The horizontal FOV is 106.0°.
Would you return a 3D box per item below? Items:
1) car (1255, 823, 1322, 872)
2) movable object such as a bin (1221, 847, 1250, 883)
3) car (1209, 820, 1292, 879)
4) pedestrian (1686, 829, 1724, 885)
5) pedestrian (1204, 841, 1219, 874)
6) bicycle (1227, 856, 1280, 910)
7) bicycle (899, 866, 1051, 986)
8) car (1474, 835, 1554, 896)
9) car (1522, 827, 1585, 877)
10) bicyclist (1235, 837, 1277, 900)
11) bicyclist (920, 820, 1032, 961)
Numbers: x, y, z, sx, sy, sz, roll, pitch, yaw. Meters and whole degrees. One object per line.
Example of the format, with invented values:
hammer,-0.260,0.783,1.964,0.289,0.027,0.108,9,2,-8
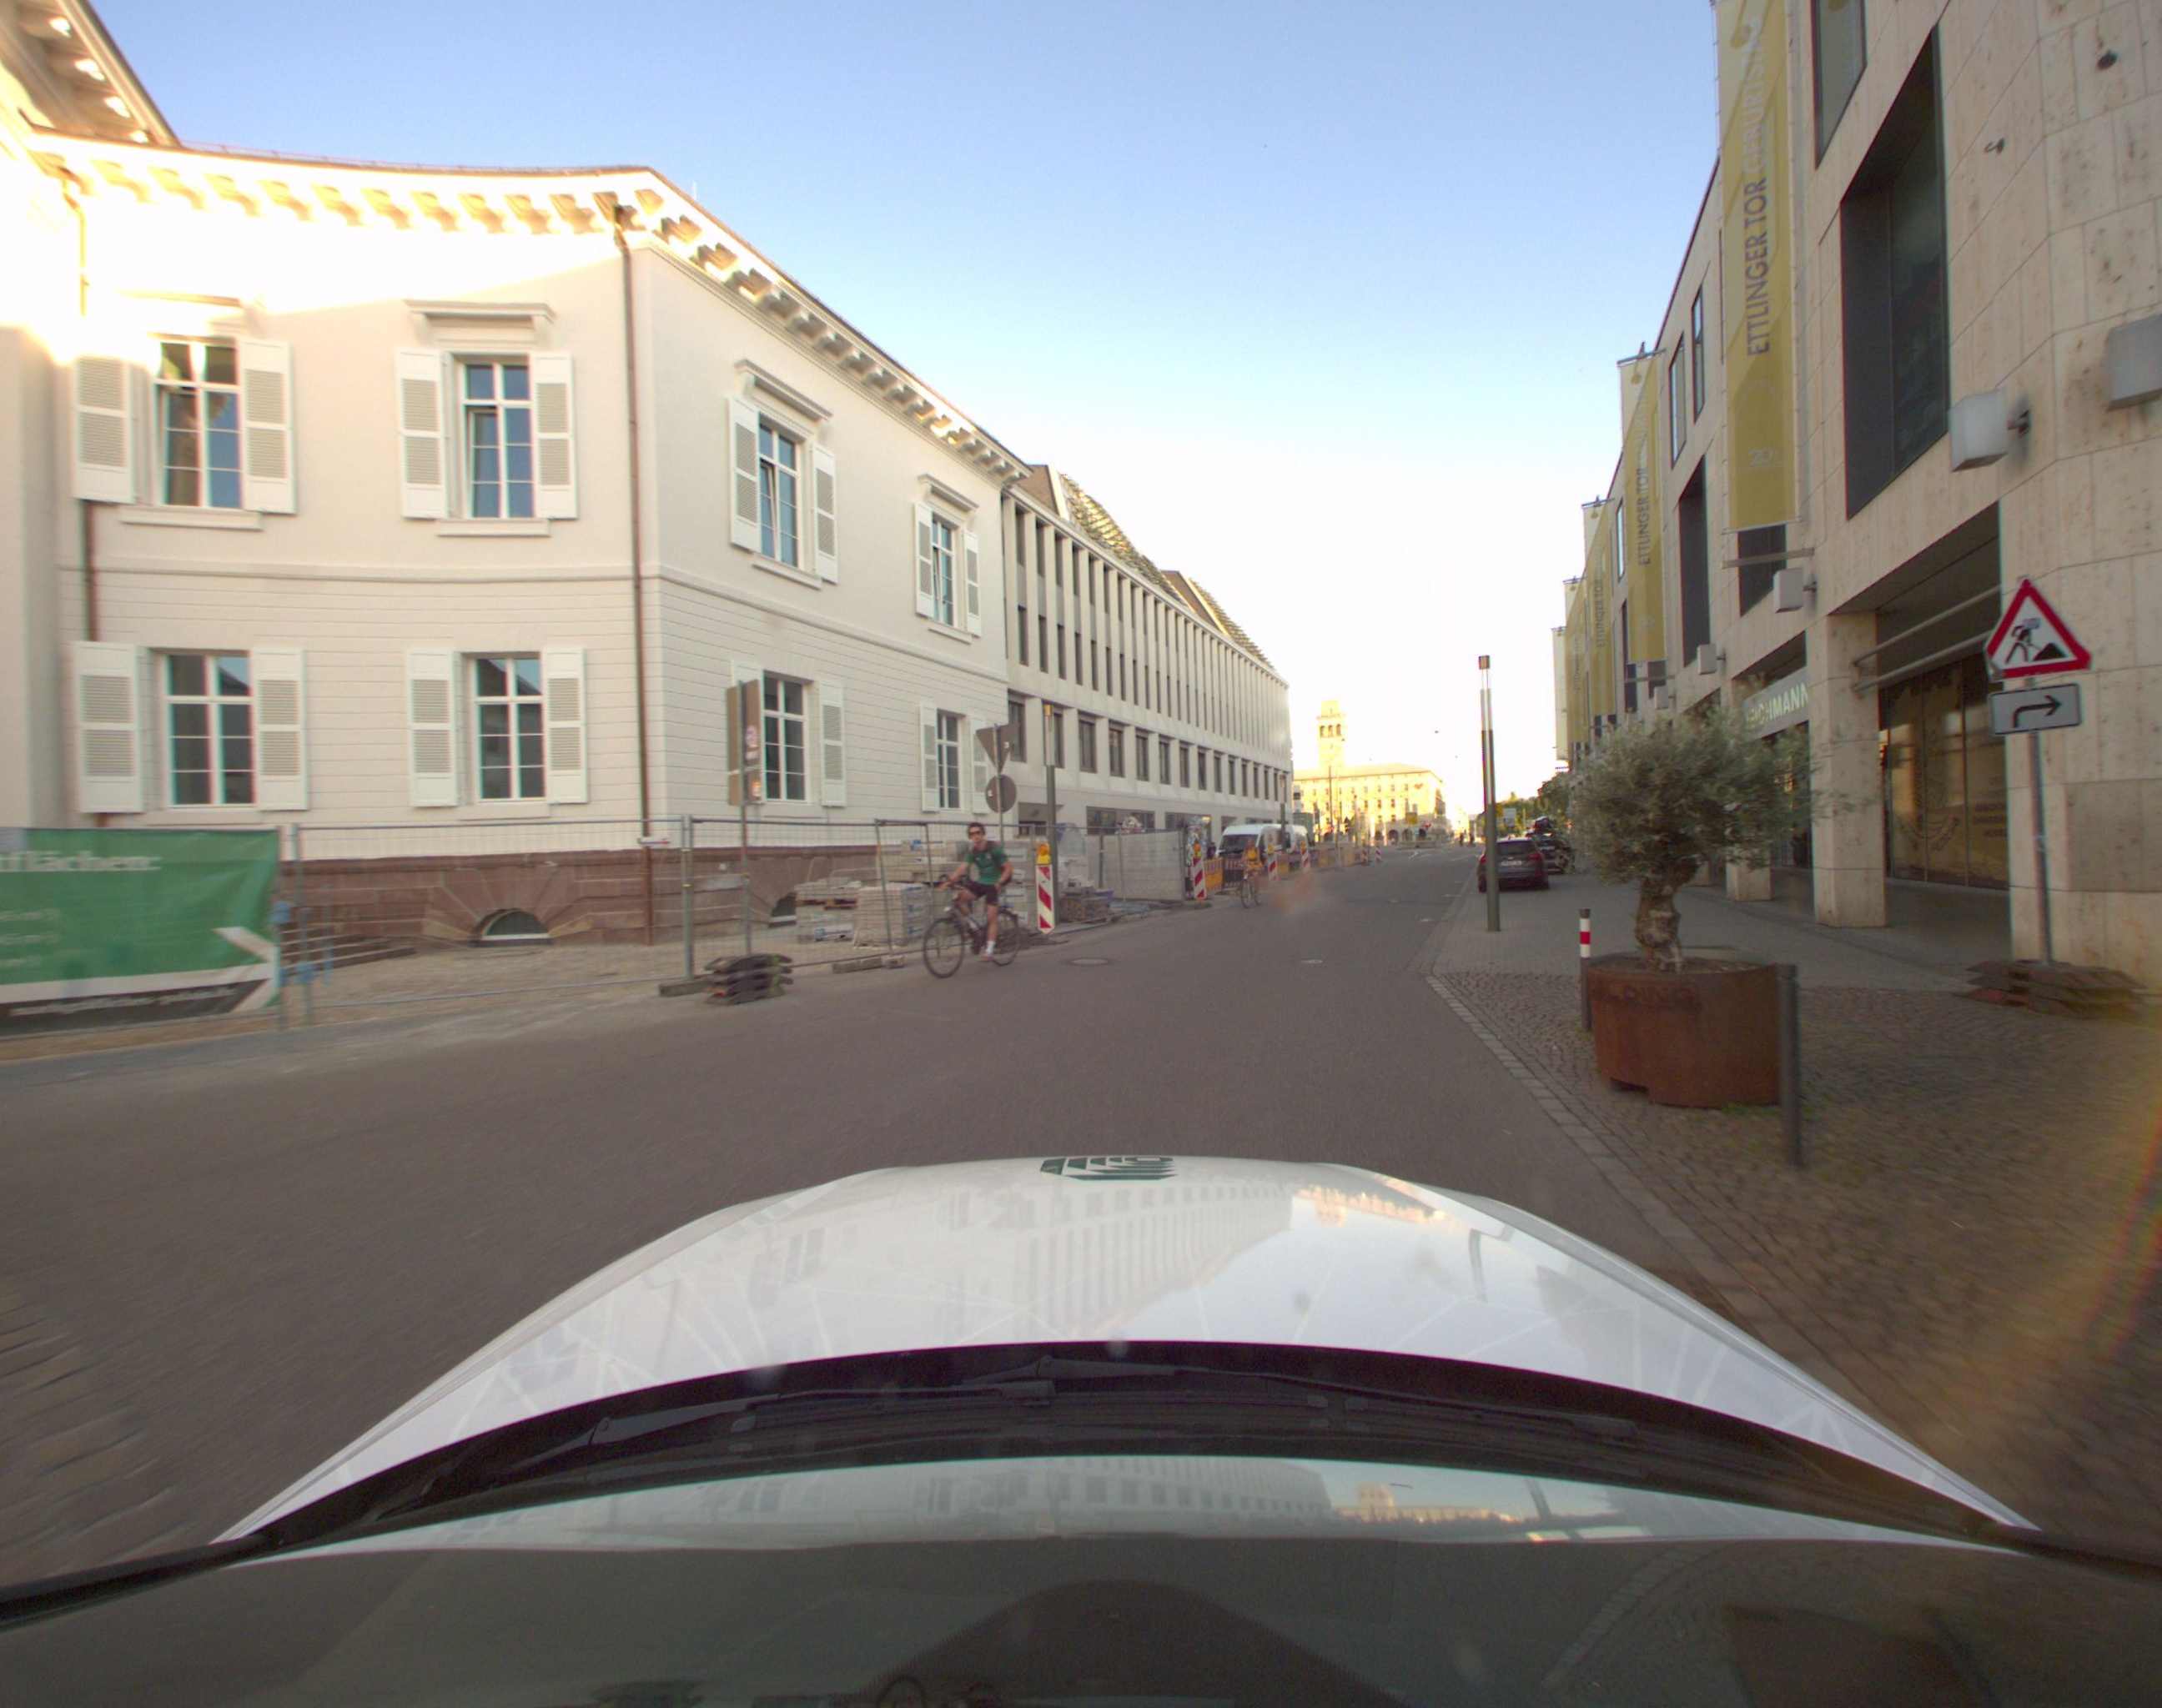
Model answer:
car,11.397,-0.399,44.387,2.153,2.470,6.035,-1,1,27
movable object such as a bin,6.417,0.444,33.876,1.035,1.466,1.400,-1,0,15
car,7.952,-0.245,37.728,2.153,2.470,6.036,-1,1,27
pedestrian,19.471,0.081,25.431,0.757,1.681,0.882,-2,2,27
pedestrian,6.346,0.166,39.729,0.537,1.577,0.583,-2,0,25
bicycle,4.350,0.690,20.380,0.789,1.217,2.246,-2,1,24
bicycle,-1.222,0.806,10.010,0.789,1.217,2.246,-2,1,23
car,12.528,0.282,23.630,1.778,1.490,4.218,-5,-1,28
car,17.681,-0.099,30.639,1.751,1.638,4.082,-5,-1,28
bicyclist,4.395,0.349,20.455,0.789,1.532,0.980,-2,0,24
bicyclist,-1.252,0.412,9.960,0.789,1.602,1.238,-2,0,23
